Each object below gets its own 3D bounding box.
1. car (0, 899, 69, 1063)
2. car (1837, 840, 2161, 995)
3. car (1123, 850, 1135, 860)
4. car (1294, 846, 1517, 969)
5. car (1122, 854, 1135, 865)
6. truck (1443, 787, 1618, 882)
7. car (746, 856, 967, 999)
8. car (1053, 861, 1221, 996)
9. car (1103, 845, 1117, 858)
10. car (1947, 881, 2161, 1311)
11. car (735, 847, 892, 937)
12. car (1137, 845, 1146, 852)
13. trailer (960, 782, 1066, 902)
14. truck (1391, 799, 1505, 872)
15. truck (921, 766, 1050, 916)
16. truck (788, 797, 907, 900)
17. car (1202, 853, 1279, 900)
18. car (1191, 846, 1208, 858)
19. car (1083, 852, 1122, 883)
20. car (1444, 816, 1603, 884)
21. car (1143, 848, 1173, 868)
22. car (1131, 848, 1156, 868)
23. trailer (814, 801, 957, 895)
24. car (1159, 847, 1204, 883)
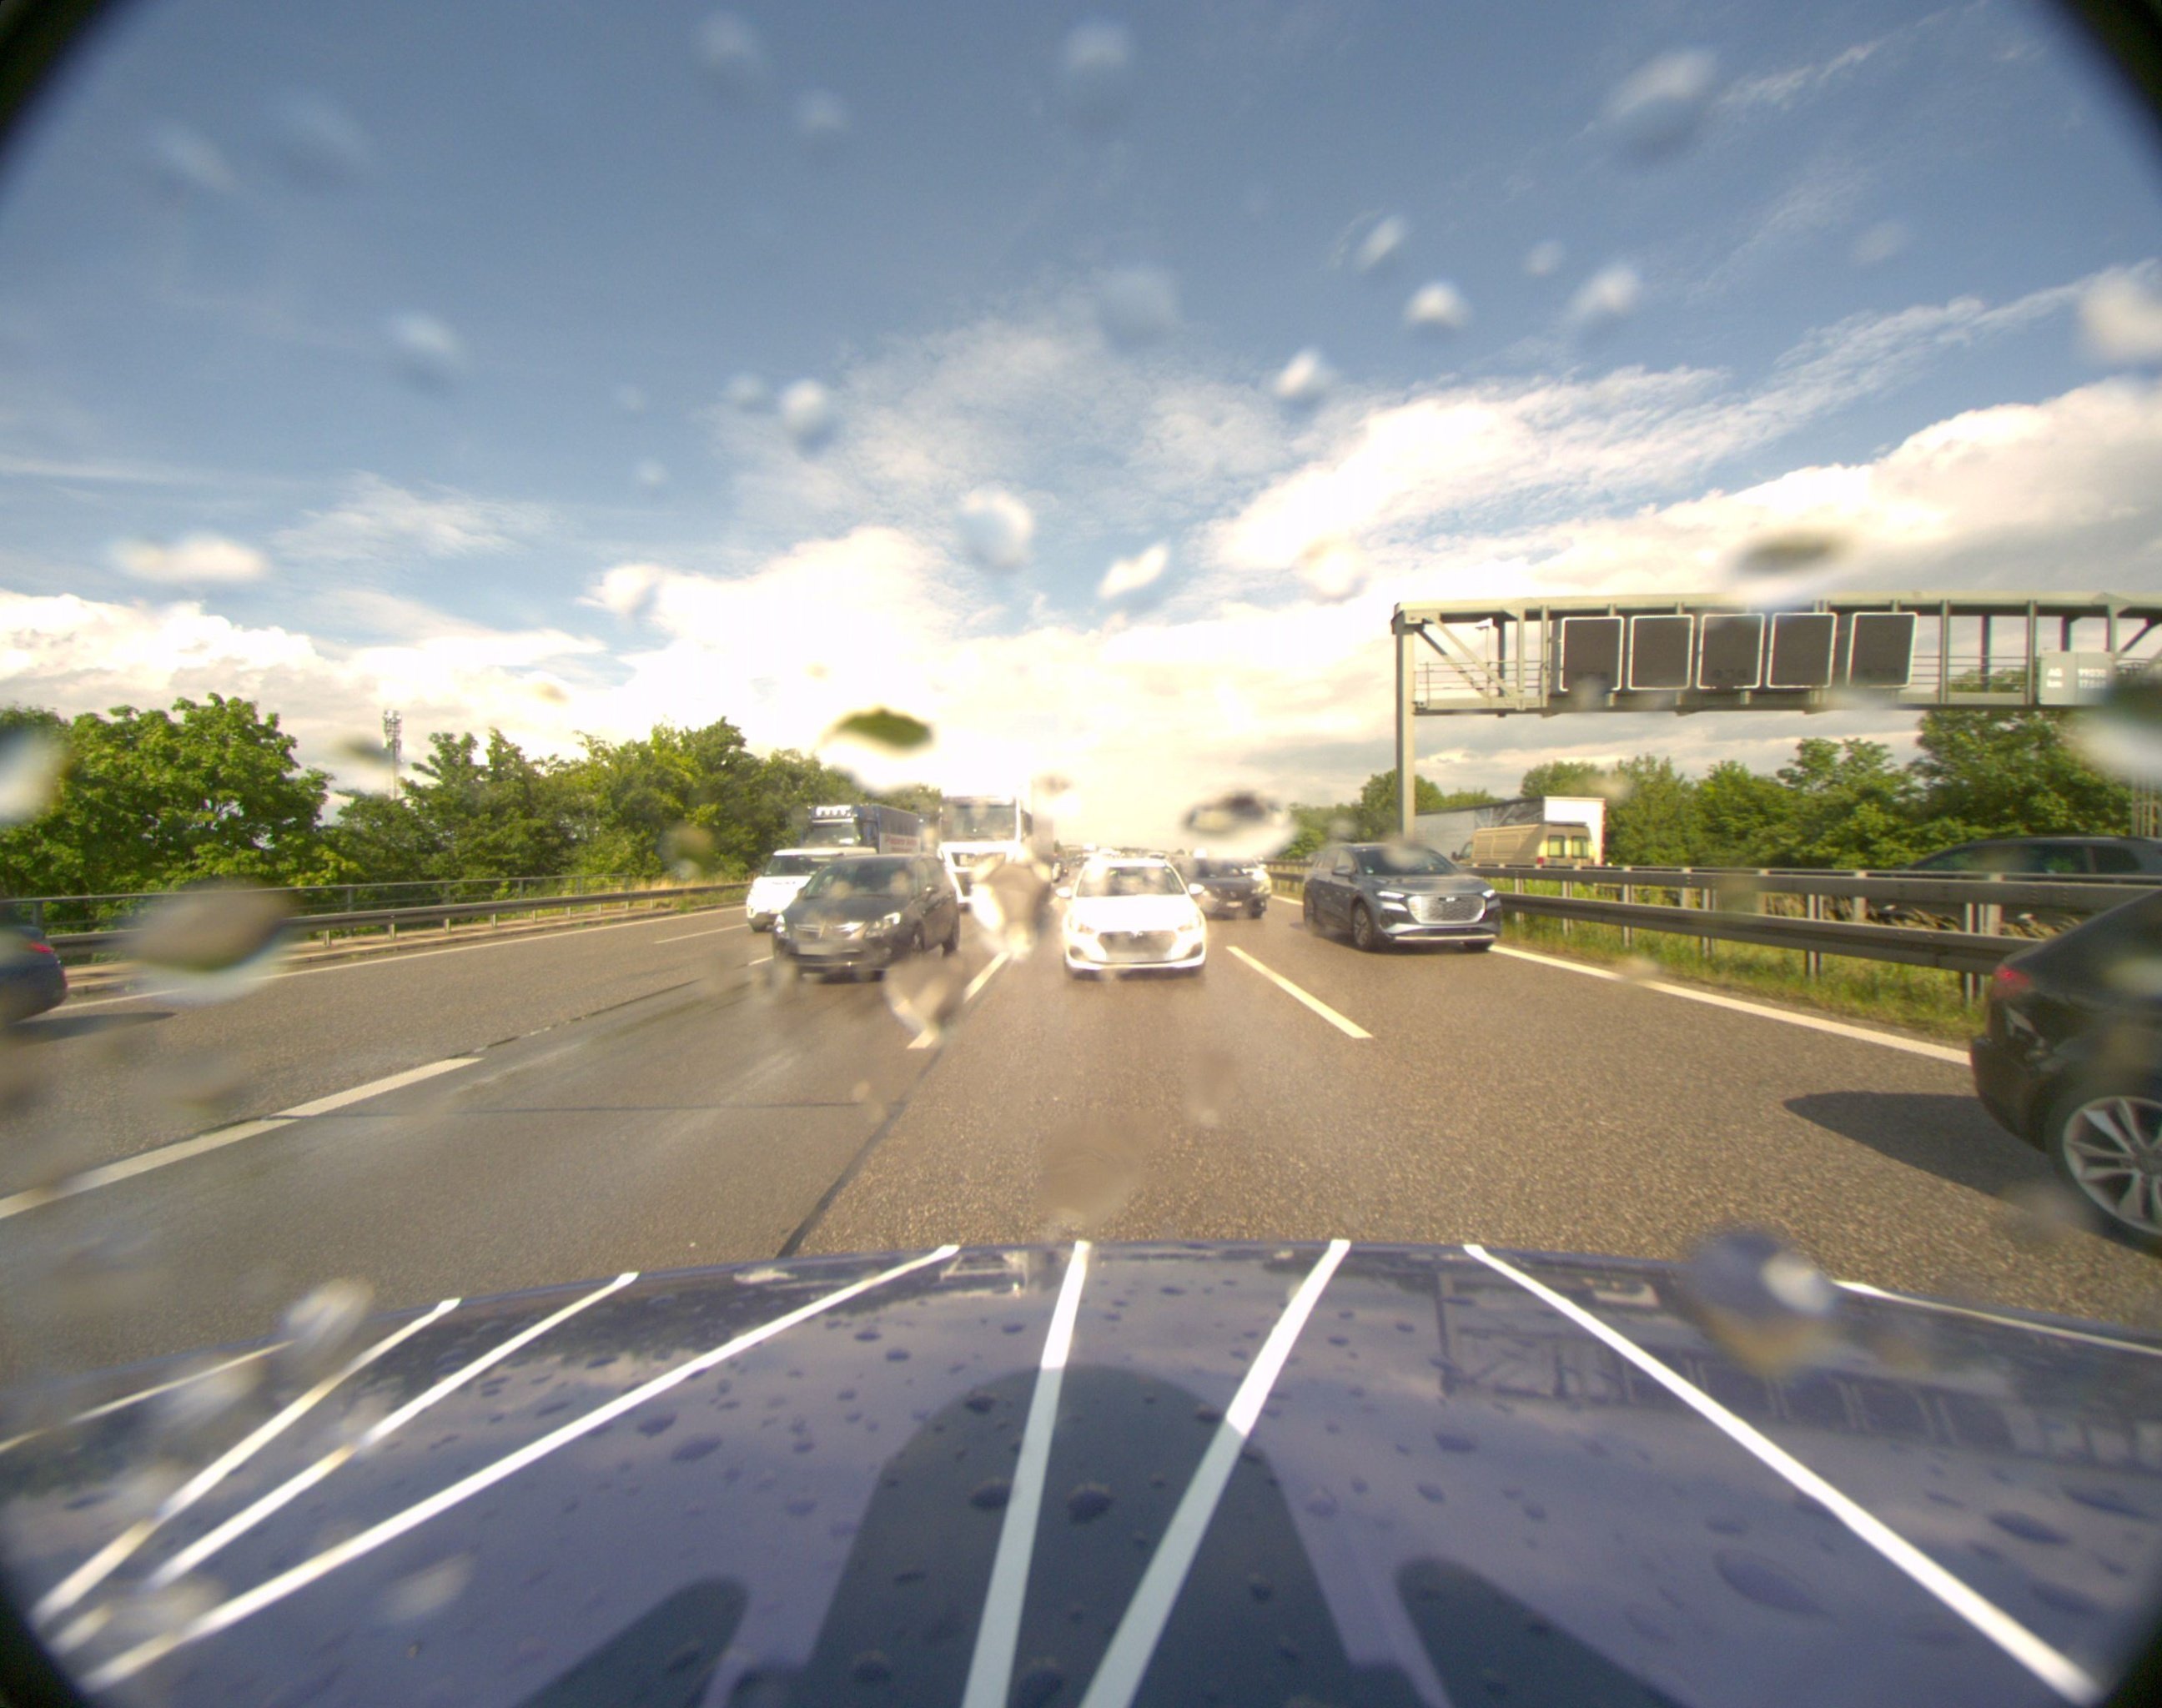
[{"bbox_3d":[-10.737,1.213,5.087,1.791,1.454,4.505,-2,1,1],"label":"car"},{"bbox_3d":[12.306,0.640,9.373,1.998,1.575,3.999,-2,1,1],"label":"car"},{"bbox_3d":[8.948,0.093,140.925,1.998,1.687,3.999,-3,1,1],"label":"car"},{"bbox_3d":[4.911,0.694,12.221,1.875,1.597,4.229,-2,0,2],"label":"car"},{"bbox_3d":[7.937,0.922,126.797,1.998,1.687,3.999,-3,1,1],"label":"car"},{"bbox_3d":[20.851,-0.903,36.161,2.855,3.831,9.420,-1,1,1],"label":"truck"},{"bbox_3d":[-3.016,0.890,11.293,1.883,1.638,4.396,-1,0,1],"label":"car"},{"bbox_3d":[0.676,0.868,10.922,1.886,1.446,4.548,-1,0,1],"label":"car"},{"bbox_3d":[4.370,-0.381,115.059,1.998,1.687,3.999,-3,1,1],"label":"car"},{"bbox_3d":[4.513,0.841,1.144,1.771,1.417,4.138,-2,1,2],"label":"car"},{"bbox_3d":[-6.341,0.793,18.771,1.955,1.875,5.167,-1,1,1],"label":"car"},{"bbox_3d":[16.634,-1.496,208.678,1.998,1.768,4.461,-2,0,1],"label":"car"},{"bbox_3d":[-2.473,-0.458,32.184,2.790,4.083,11.539,-2,1,3],"label":"trailer"},{"bbox_3d":[20.931,-1.065,43.961,2.869,3.799,7.876,-1,1,1],"label":"truck"},{"bbox_3d":[-2.809,-0.386,24.858,2.817,4.083,7.446,-2,1,3],"label":"truck"},{"bbox_3d":[-9.772,-0.258,32.584,3.112,3.931,5.866,-1,1,1],"label":"truck"},{"bbox_3d":[5.297,0.703,25.710,1.771,1.371,3.999,-1,1,1],"label":"car"},{"bbox_3d":[19.963,-0.376,127.814,1.998,2.002,5.558,-1,0,0],"label":"car"},{"bbox_3d":[1.125,0.700,40.717,1.998,1.477,3.999,-1,1,1],"label":"car"},{"bbox_3d":[16.492,-0.120,28.948,1.998,2.195,6.980,-2,0,1],"label":"car"},{"bbox_3d":[6.145,0.288,60.878,1.998,1.471,3.999,-3,1,1],"label":"car"},{"bbox_3d":[5.794,0.330,70.893,1.998,1.687,3.999,-3,1,1],"label":"car"},{"bbox_3d":[-9.688,-0.379,40.599,3.112,3.931,16.339,-1,1,1],"label":"trailer"},{"bbox_3d":[5.579,0.575,42.581,1.998,1.739,3.999,-3,1,1],"label":"car"}]
